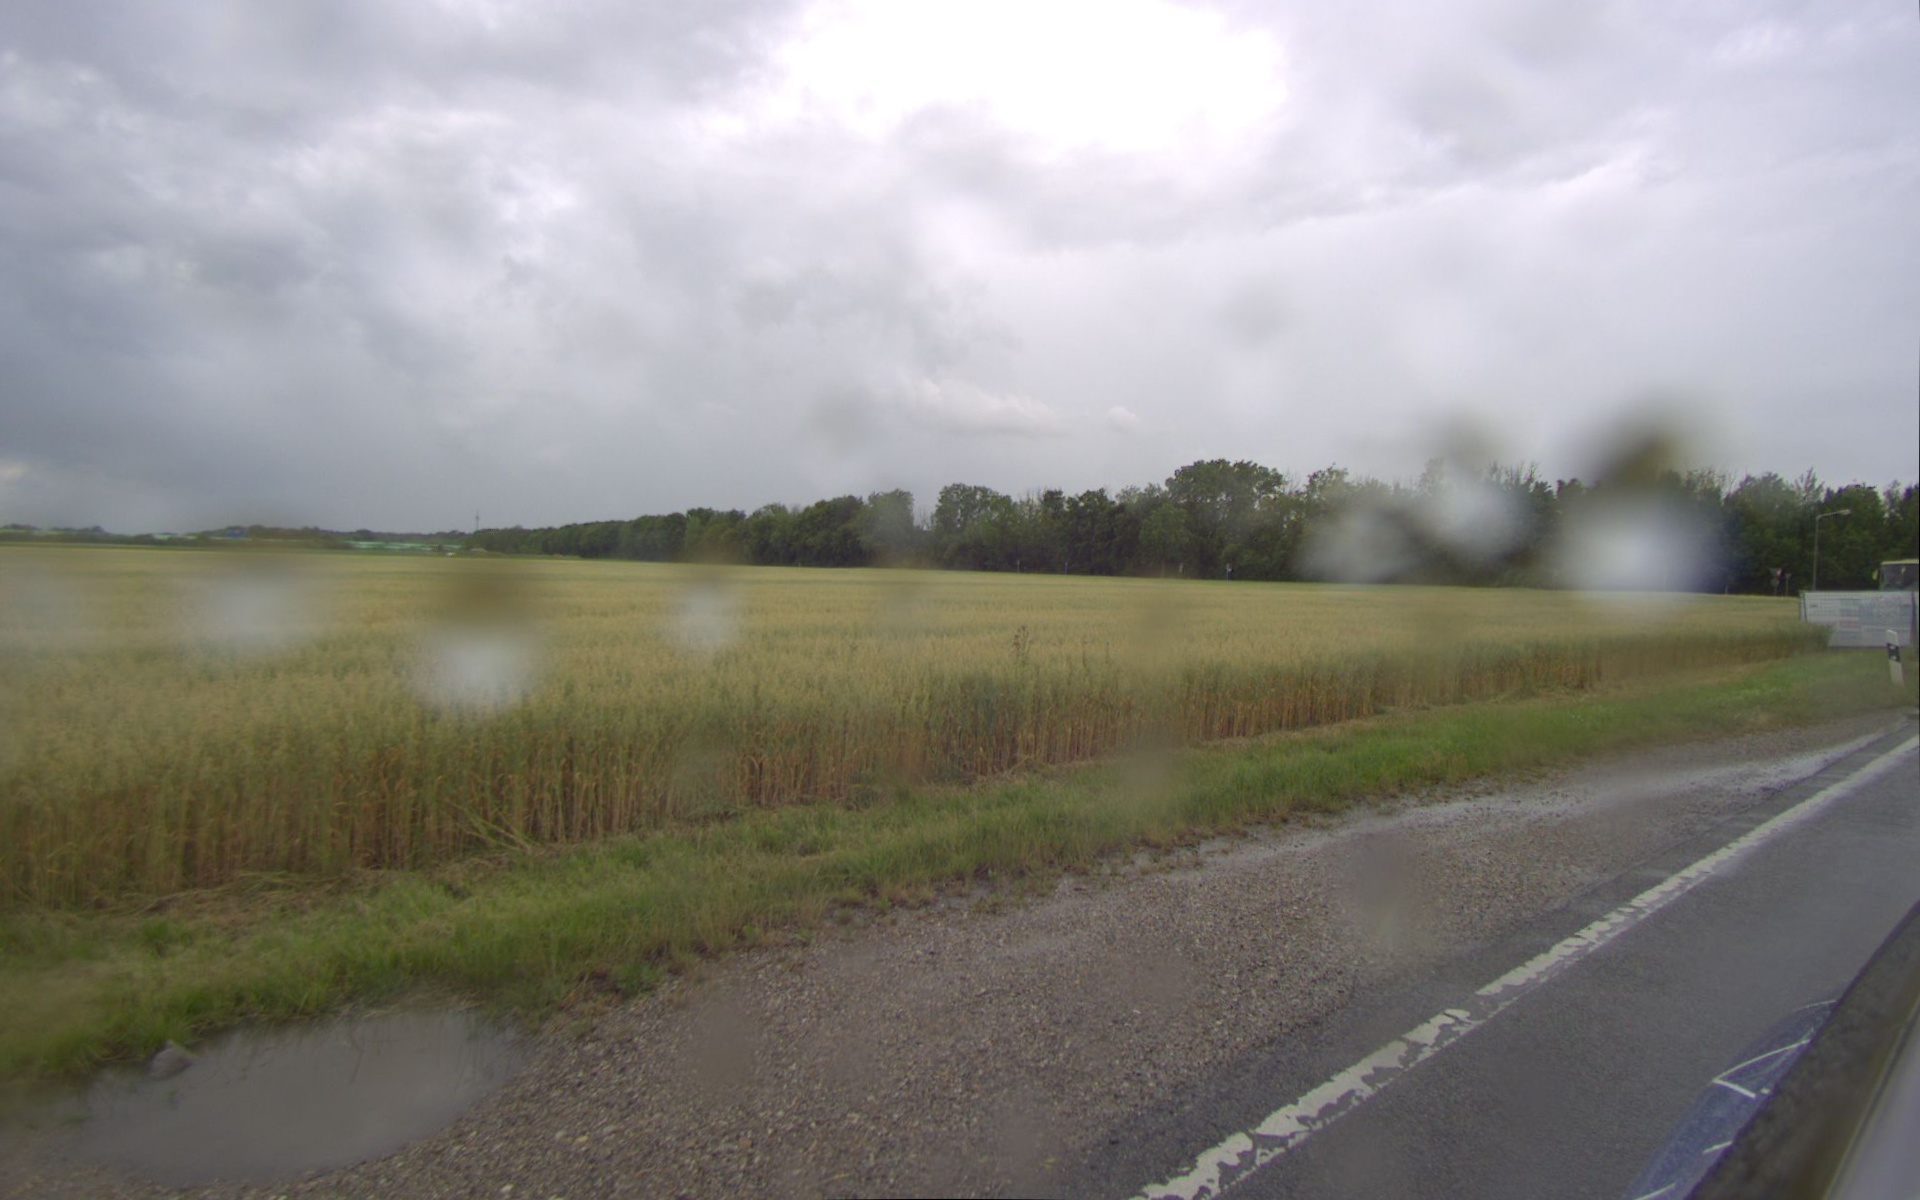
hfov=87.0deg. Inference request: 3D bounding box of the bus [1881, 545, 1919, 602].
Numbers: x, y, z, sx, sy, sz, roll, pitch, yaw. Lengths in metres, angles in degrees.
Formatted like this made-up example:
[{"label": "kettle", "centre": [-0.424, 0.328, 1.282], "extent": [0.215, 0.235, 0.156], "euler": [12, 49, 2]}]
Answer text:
[{"label": "bus", "centre": [68.143, -1.745, 70.380], "extent": [14.024, 3.731, 2.999], "euler": [0, 3, -36]}]
